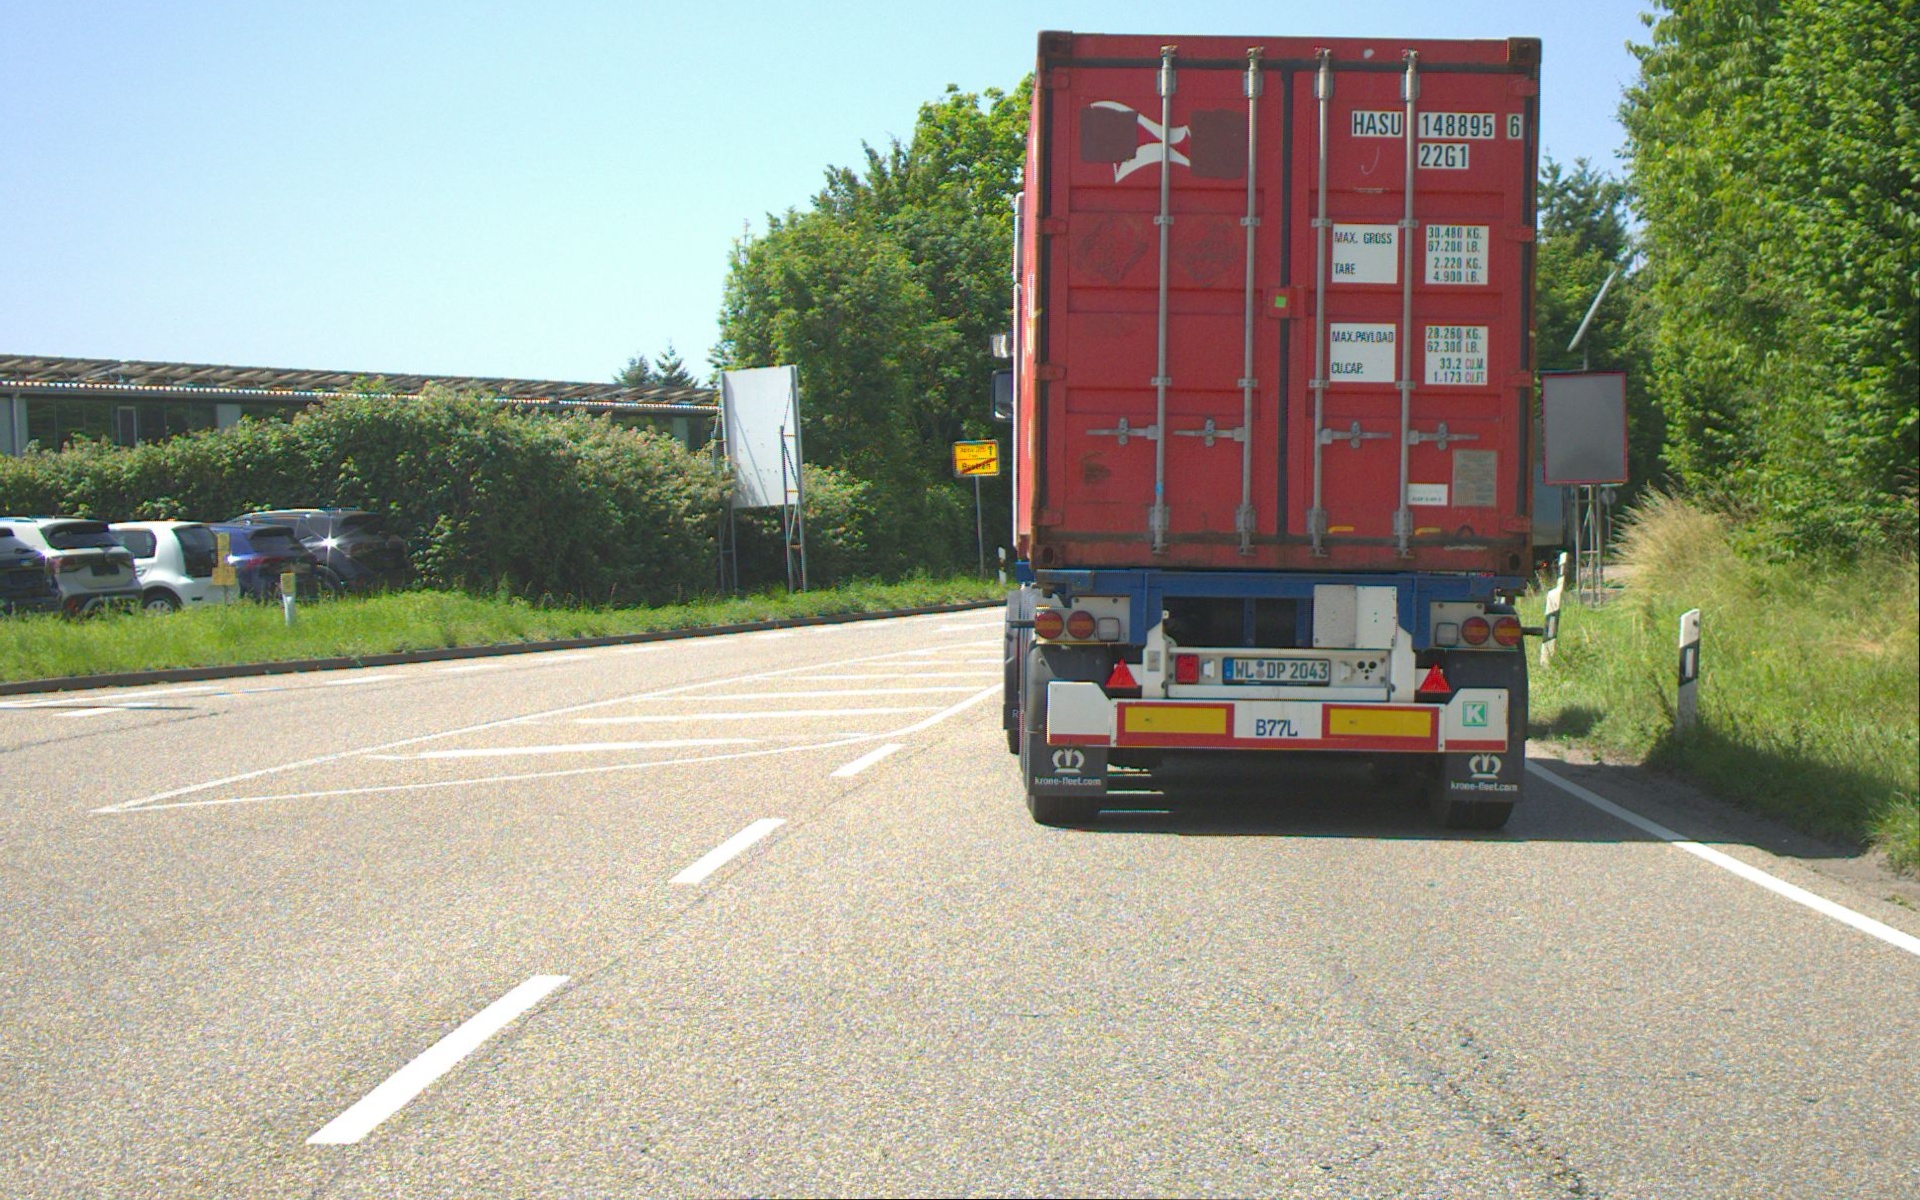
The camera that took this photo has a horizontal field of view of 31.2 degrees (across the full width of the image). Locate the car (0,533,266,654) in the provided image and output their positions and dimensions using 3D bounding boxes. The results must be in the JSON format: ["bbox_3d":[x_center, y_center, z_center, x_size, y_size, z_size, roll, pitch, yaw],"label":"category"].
[{"bbox_3d":[-11.123,-0.060,43.877,3.990,1.312,1.832,-3,1,17],"label":"car"}]

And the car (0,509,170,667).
[{"bbox_3d":[-11.834,-0.081,41.351,3.990,1.744,1.998,-3,1,19],"label":"car"}]

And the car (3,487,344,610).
[{"bbox_3d":[-10.492,-0.690,45.927,3.990,1.357,1.819,-3,1,17],"label":"car"}]

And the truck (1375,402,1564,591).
[{"bbox_3d":[11.352,-2.288,75.512,2.923,3.704,13.353,-1,2,13],"label":"truck"}]

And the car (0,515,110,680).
[{"bbox_3d":[-11.931,0.053,38.823,3.990,1.744,1.998,-3,1,19],"label":"car"}]

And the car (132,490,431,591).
[{"bbox_3d":[-9.473,-0.850,48.042,3.700,1.368,1.802,1,2,20],"label":"car"}]

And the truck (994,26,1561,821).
[{"bbox_3d":[1.583,-1.001,23.129,2.648,3.793,13.360,0,1,0],"label":"truck"}]
